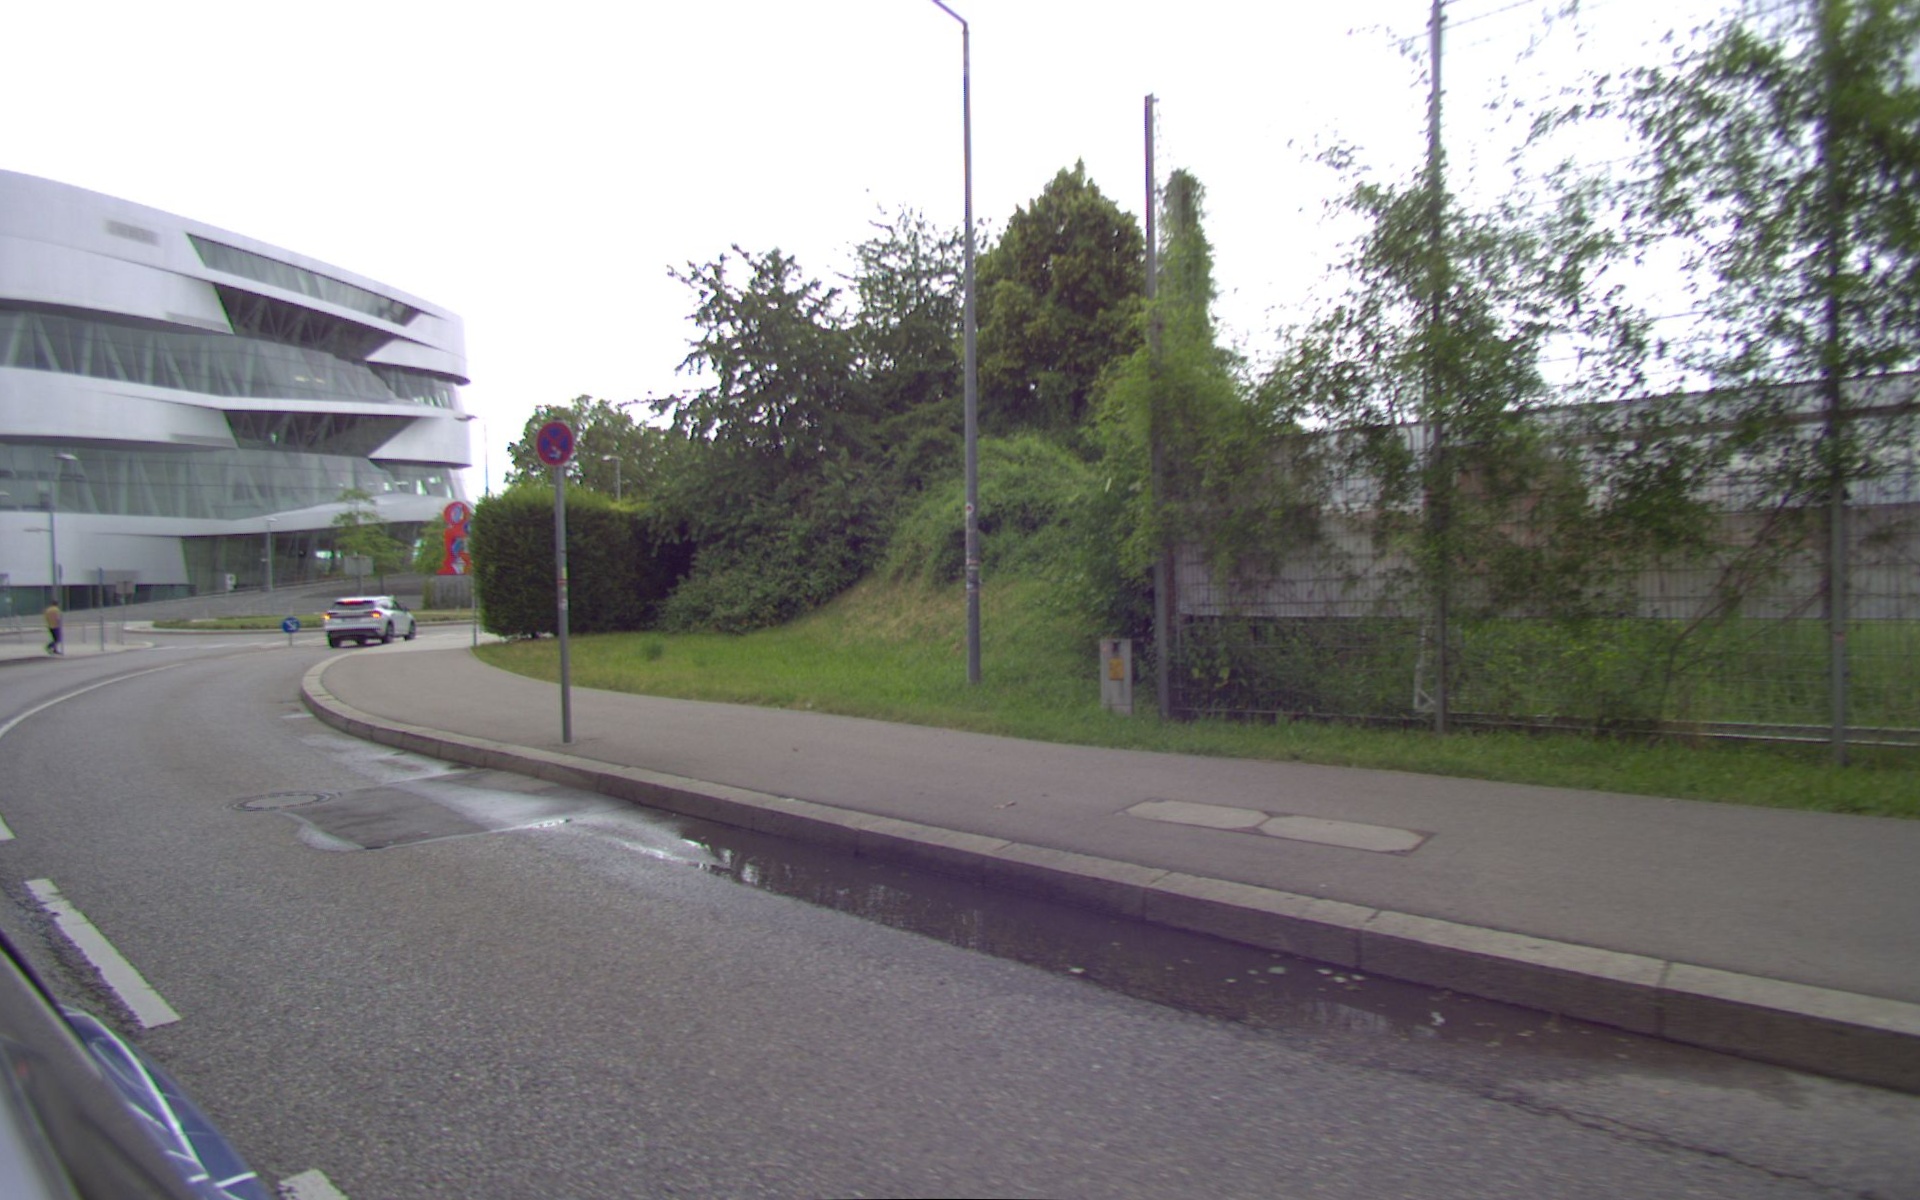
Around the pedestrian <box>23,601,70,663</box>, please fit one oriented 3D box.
[{"bbox_3d":[-30.668,1.063,33.970,0.783,2.029,1.027,-3,-1,37],"label":"pedestrian"}]

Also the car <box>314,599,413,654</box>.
[{"bbox_3d":[-20.328,0.894,34.708,1.839,1.696,4.418,-2,-1,-16],"label":"car"}]
